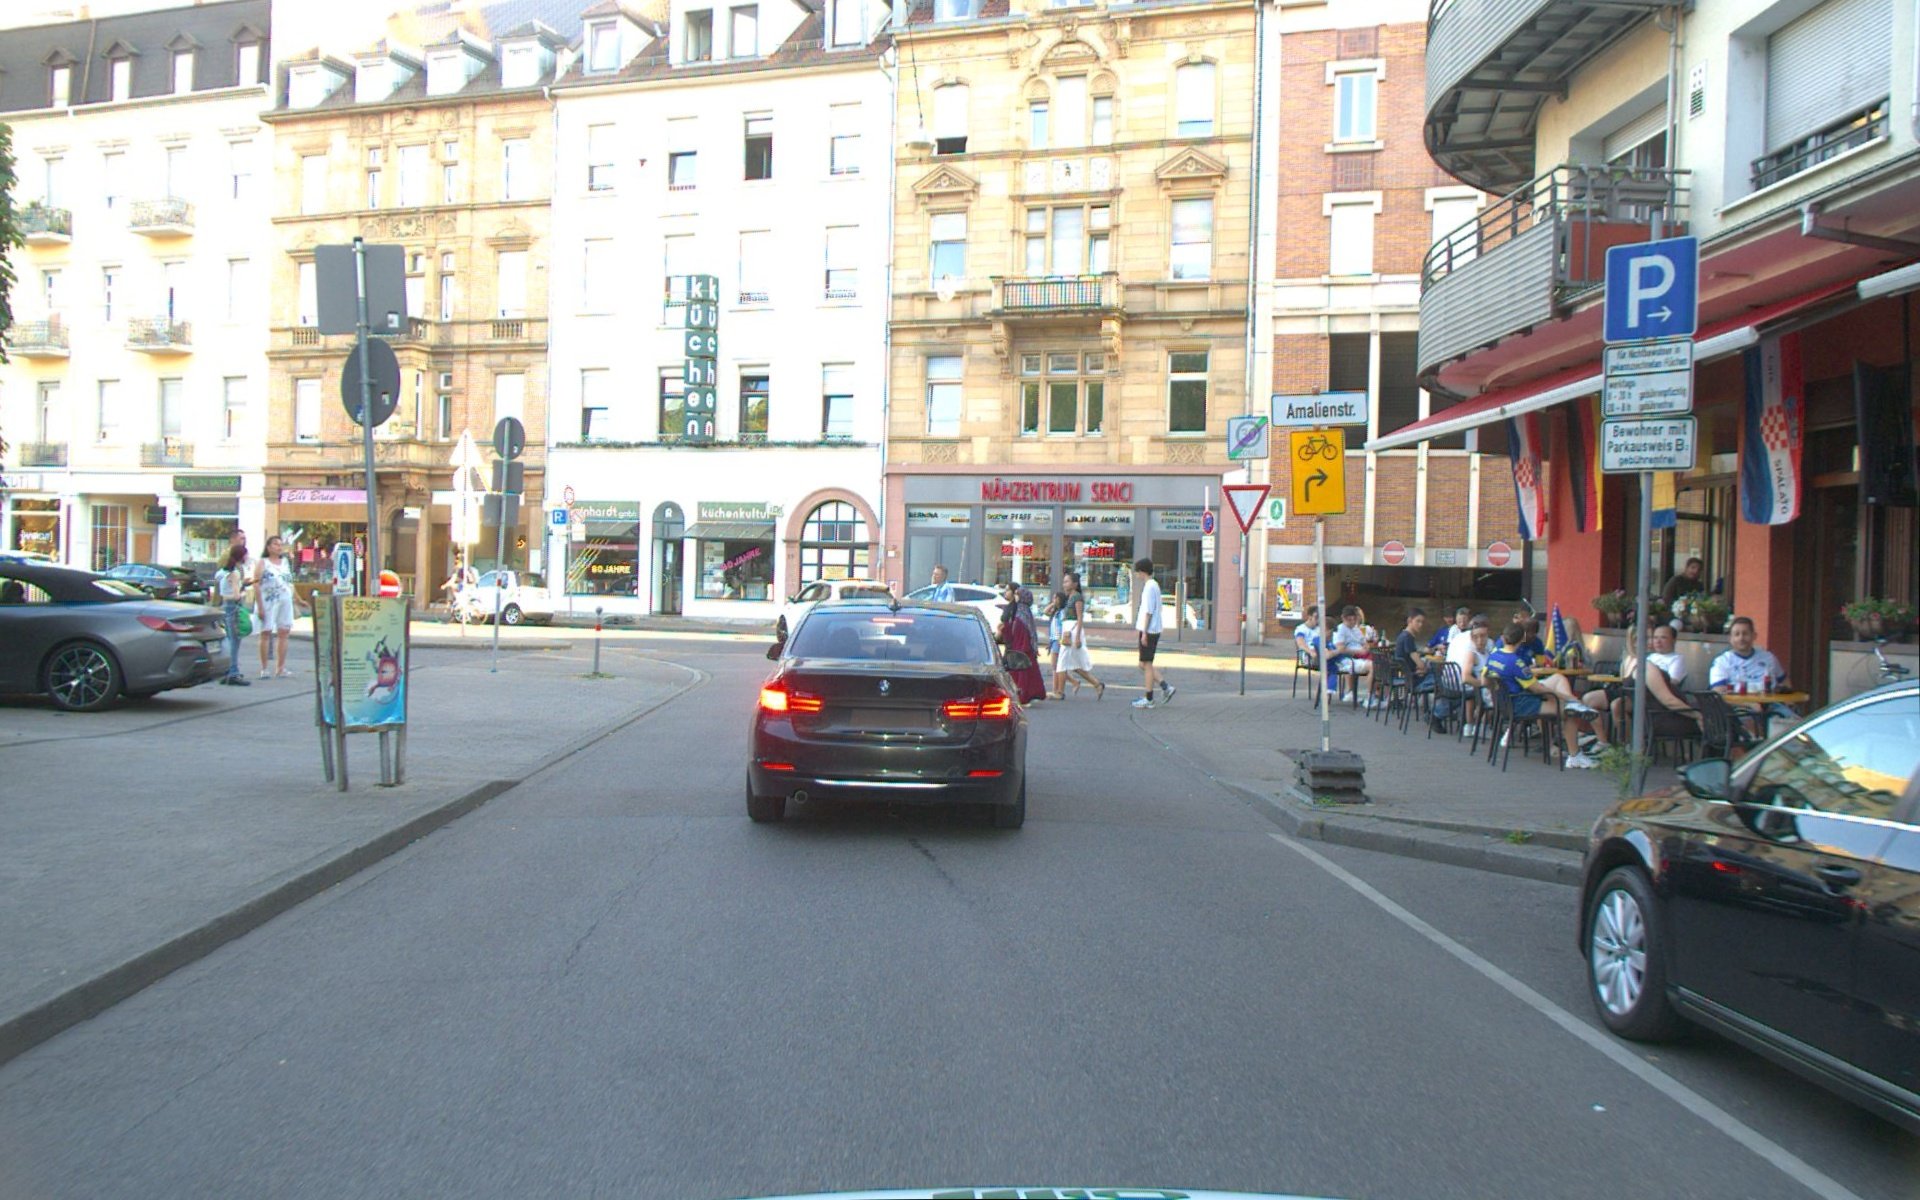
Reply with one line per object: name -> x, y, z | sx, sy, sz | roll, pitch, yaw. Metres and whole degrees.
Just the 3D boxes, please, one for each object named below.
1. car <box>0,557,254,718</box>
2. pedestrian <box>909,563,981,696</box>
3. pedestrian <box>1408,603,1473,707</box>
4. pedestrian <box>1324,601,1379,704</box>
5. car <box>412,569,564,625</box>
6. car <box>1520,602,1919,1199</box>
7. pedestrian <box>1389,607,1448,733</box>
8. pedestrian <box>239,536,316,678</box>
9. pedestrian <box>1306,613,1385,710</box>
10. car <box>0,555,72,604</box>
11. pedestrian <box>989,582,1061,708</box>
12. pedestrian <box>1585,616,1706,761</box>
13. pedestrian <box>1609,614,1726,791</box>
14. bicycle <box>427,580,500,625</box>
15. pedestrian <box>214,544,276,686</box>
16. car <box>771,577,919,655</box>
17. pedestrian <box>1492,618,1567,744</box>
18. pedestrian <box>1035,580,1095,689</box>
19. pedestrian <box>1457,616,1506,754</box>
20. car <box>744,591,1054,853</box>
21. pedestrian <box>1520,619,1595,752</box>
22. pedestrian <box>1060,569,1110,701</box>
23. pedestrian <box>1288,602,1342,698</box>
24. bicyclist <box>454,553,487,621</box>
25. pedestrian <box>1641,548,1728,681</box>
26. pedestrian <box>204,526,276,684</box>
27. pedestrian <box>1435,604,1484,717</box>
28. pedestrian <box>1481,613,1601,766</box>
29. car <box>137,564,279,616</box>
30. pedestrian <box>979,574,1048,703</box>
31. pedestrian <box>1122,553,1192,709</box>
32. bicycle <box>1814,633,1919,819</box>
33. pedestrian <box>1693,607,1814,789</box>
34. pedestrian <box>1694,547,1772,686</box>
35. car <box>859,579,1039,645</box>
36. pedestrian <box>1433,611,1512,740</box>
car -> -9.413, 0.338, 16.615 | 3.915, 1.527, 1.887 | 1, 1, -11
pedestrian -> -0.204, 0.398, 22.830 | 0.876, 1.755, 0.608 | 2, 2, 4
pedestrian -> 6.196, 0.697, 21.332 | 0.606, 1.301, 0.698 | 1, 1, 35
pedestrian -> 5.098, 0.674, 21.560 | 0.604, 1.306, 0.660 | 1, 0, 6
car -> -13.703, -0.092, 48.030 | 3.904, 1.537, 1.800 | 1, 0, 20
car -> 3.363, 0.863, 4.671 | 1.730, 1.528, 4.789 | 4, 1, -2
pedestrian -> 4.969, 0.753, 17.941 | 0.481, 1.326, 0.418 | -2, 0, -2
pedestrian -> -8.728, 0.079, 21.160 | 0.661, 1.776, 0.654 | 1, 1, 37
pedestrian -> 4.838, 0.760, 20.795 | 0.871, 1.170, 0.619 | 1, 0, 5
car -> -31.428, -0.687, 54.372 | 3.904, 1.537, 1.800 | 1, 0, 20
pedestrian -> 0.822, 0.566, 21.042 | 0.722, 1.540, 0.648 | 3, 0, -11
pedestrian -> 6.214, 0.789, 15.023 | 0.763, 1.244, 0.714 | -2, 0, -2
pedestrian -> 5.372, 0.763, 12.583 | 0.672, 1.309, 0.609 | 0, 0, 7
bicycle -> -13.216, 0.053, 44.023 | 1.756, 1.127, 0.538 | 2, 0, 10
pedestrian -> -8.549, 0.176, 19.782 | 0.490, 1.672, 0.520 | 1, 0, -1
car -> -2.445, 0.287, 34.271 | 1.852, 1.498, 3.971 | 1, 1, -23
pedestrian -> 5.679, 0.797, 16.503 | 0.415, 1.222, 0.560 | -2, 0, -44
pedestrian -> 1.474, 0.476, 23.287 | 0.798, 1.500, 0.607 | 1, 0, 2
pedestrian -> 4.946, 0.800, 15.683 | 0.337, 1.279, 0.359 | -1, 0, 31
car -> -0.424, 0.692, 11.887 | 1.729, 1.399, 4.789 | 2, 1, -2
pedestrian -> 5.705, 0.806, 15.797 | 0.528, 1.222, 0.415 | -1, 0, 45
pedestrian -> 1.717, 0.464, 22.709 | 0.653, 1.776, 0.607 | 1, 0, 4
pedestrian -> 4.891, 0.676, 22.807 | 0.604, 1.276, 0.736 | 1, 0, 3
bicyclist -> -13.008, -0.343, 43.982 | 0.604, 1.787, 0.526 | 2, 0, 10
pedestrian -> 9.176, 0.180, 20.954 | 0.705, 1.635, 0.682 | 2, 0, -29
pedestrian -> -8.879, 0.054, 20.419 | 0.571, 1.915, 0.634 | 1, 0, 3
pedestrian -> 5.899, 0.704, 19.533 | 0.479, 1.299, 0.522 | 1, 0, 11
pedestrian -> 5.071, 0.767, 14.450 | 0.841, 1.279, 0.491 | -2, 0, -3
car -> -23.638, -0.318, 51.992 | 3.904, 1.537, 1.800 | 1, 0, 20
pedestrian -> 0.701, 0.493, 21.699 | 0.711, 1.637, 0.648 | 3, 0, -11
pedestrian -> 2.479, 0.379, 20.784 | 0.684, 1.910, 0.678 | 2, 0, 19
bicycle -> 6.308, 0.799, 10.673 | 0.525, 1.174, 1.741 | 0, -1, -7
pedestrian -> 6.209, 0.746, 12.961 | 0.594, 1.371, 0.696 | 0, 0, -4
pedestrian -> 9.331, 0.195, 19.976 | 0.524, 1.635, 0.605 | 2, 0, -24
car -> -0.280, 0.301, 42.745 | 4.261, 1.589, 1.869 | 1, 0, 20
pedestrian -> 5.350, 0.773, 17.273 | 0.622, 1.298, 0.504 | -2, 0, -40
